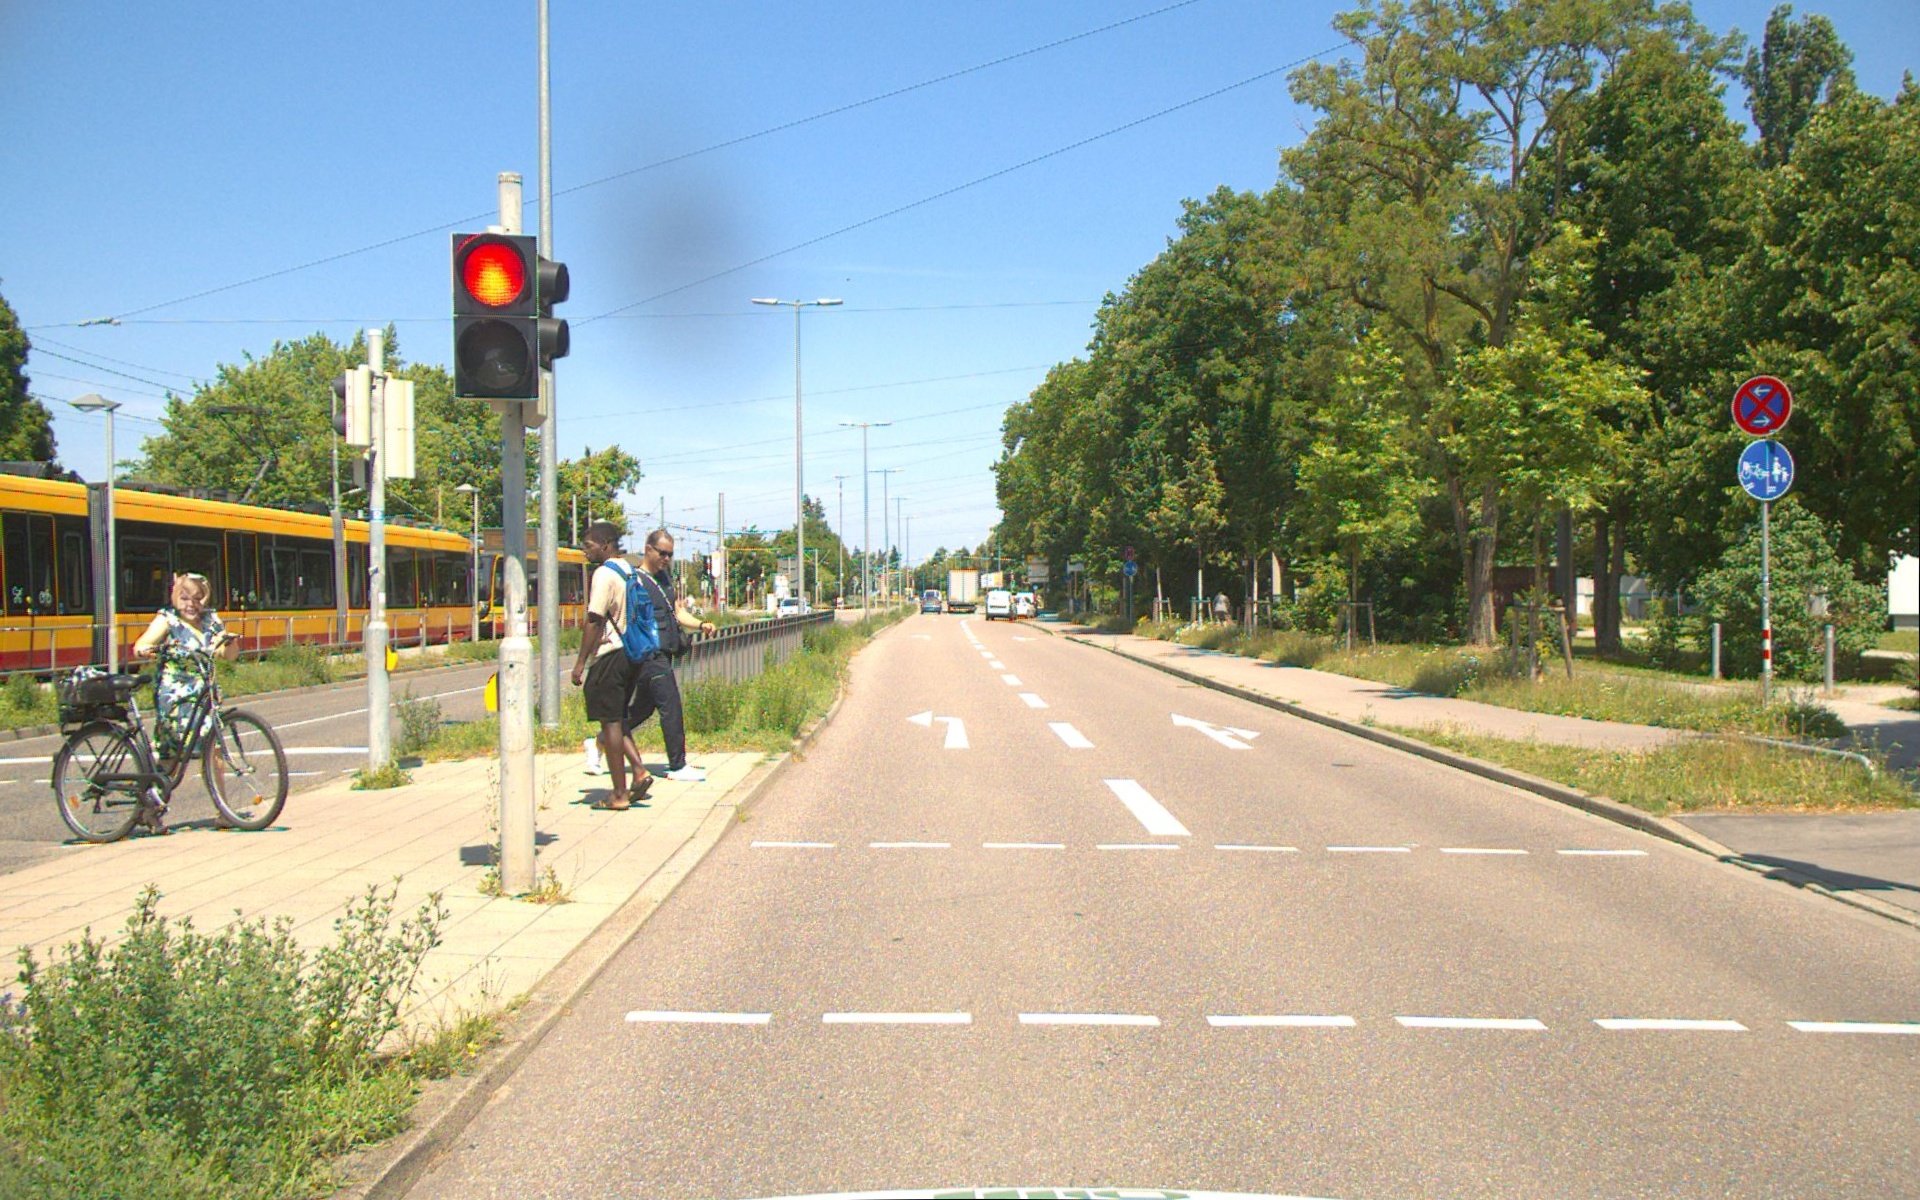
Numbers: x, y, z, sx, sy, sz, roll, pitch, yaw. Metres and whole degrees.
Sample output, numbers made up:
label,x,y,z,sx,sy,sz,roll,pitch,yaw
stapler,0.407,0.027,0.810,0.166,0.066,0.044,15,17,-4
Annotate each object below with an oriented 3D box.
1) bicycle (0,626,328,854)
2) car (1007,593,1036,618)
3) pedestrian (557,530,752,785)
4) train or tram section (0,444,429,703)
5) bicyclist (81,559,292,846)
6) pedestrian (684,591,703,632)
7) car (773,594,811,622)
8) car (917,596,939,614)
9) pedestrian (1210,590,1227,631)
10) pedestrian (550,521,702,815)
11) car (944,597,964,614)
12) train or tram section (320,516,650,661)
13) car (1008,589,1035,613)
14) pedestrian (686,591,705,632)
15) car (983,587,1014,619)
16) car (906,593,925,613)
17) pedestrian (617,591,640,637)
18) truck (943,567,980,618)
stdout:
label,x,y,z,sx,sy,sz,roll,pitch,yaw
bicycle,-4.823,0.843,9.920,1.917,1.181,0.541,-6,0,18
car,4.192,0.367,112.514,1.743,1.698,3.999,0,0,-1
pedestrian,-2.290,0.417,12.431,1.162,1.809,0.838,0,-2,30
train or tram section,-15.602,-0.409,29.405,2.897,3.815,30.029,0,0,0
bicyclist,-4.874,0.634,10.441,0.937,1.695,0.581,-5,0,17
pedestrian,-13.407,0.567,83.231,0.798,2.049,0.938,0,0,-1
car,-9.375,0.443,92.559,1.807,1.521,3.790,0,0,-1
car,-2.640,0.390,137.449,1.774,1.490,3.999,0,0,-1
pedestrian,9.221,0.378,58.989,0.591,1.463,0.556,0,0,6
pedestrian,-2.125,0.411,10.592,0.823,1.808,0.720,1,2,-1
car,-0.575,0.521,153.611,1.774,1.490,3.999,0,0,-1
train or tram section,-15.831,-0.379,60.919,2.871,3.856,33.083,0,0,0
car,4.416,0.085,118.865,1.743,1.698,3.999,0,0,-1
pedestrian,-13.501,0.571,84.408,0.798,2.049,0.938,0,0,-1
car,2.398,0.182,103.550,1.743,1.937,3.999,0,0,-1
car,-4.679,0.285,175.101,1.953,2.049,3.999,0,0,-1
pedestrian,-13.846,0.574,69.095,0.769,1.901,0.817,0,0,-1
truck,0.085,-0.682,146.133,3.140,4.435,6.559,0,0,-1
